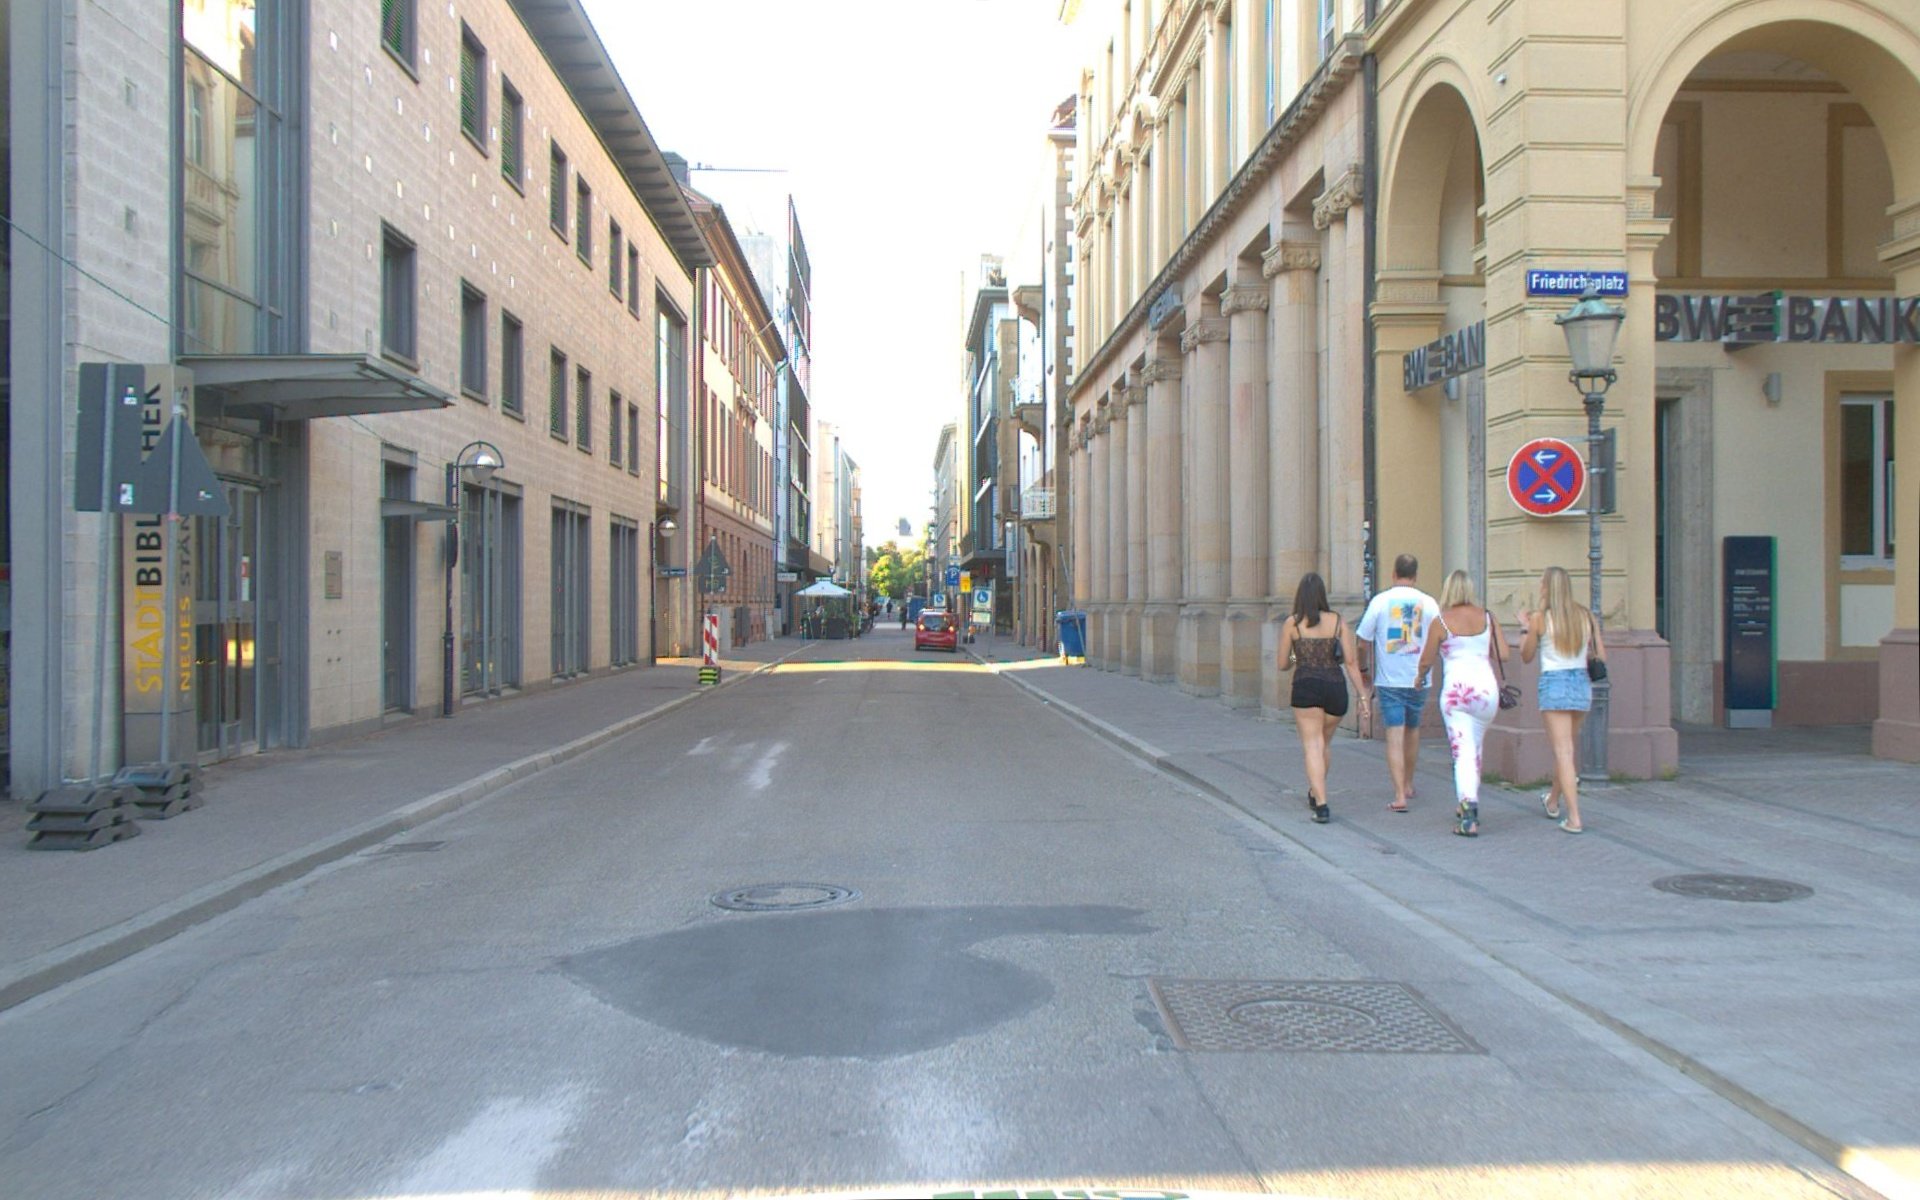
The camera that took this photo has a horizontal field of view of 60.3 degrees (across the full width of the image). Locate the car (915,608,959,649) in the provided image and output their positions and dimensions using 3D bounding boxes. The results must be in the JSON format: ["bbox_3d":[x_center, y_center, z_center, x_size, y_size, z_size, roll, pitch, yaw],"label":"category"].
[{"bbox_3d":[-0.914,1.088,63.965,1.616,1.452,3.534,2,0,-2],"label":"car"}]

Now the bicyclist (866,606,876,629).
[{"bbox_3d":[-6.499,1.303,121.034,0.625,1.669,0.770,-1,0,-11],"label":"bicyclist"}]

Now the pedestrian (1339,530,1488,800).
[{"bbox_3d":[3.328,0.461,12.211,0.795,1.908,0.874,-1,-1,-3],"label":"pedestrian"}]

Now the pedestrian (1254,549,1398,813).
[{"bbox_3d":[2.564,0.551,11.665,0.760,1.777,0.874,-1,0,-3],"label":"pedestrian"}]

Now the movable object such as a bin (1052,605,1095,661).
[{"bbox_3d":[2.959,0.852,43.233,0.970,1.416,1.240,-1,0,-3],"label":"movable object such as a bin"}]

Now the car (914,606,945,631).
[{"bbox_3d":[-2.078,1.244,113.345,1.954,1.639,3.997,0,0,-4],"label":"car"}]

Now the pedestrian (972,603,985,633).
[{"bbox_3d":[0.948,0.931,85.223,0.643,1.514,0.493,-1,-1,0],"label":"pedestrian"}]

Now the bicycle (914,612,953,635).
[{"bbox_3d":[-1.385,1.209,85.813,2.012,1.154,0.648,0,-1,-6],"label":"bicycle"}]

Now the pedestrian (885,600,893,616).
[{"bbox_3d":[-7.568,0.850,175.873,0.788,1.702,0.888,0,0,0],"label":"pedestrian"}]

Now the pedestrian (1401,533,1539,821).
[{"bbox_3d":[3.366,0.493,10.966,0.624,1.835,0.771,-1,-1,-3],"label":"pedestrian"}]

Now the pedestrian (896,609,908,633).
[{"bbox_3d":[-4.100,1.485,117.384,0.848,1.743,0.852,0,-1,-3],"label":"pedestrian"}]

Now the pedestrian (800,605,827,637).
[{"bbox_3d":[-7.035,0.997,79.570,1.265,1.514,0.661,0,-1,-4],"label":"pedestrian"}]

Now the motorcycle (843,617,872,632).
[{"bbox_3d":[-6.422,1.531,103.621,1.767,0.891,0.560,0,-1,-7],"label":"motorcycle"}]

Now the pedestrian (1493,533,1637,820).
[{"bbox_3d":[4.015,0.492,11.015,0.624,1.835,0.771,-1,-1,-3],"label":"pedestrian"}]

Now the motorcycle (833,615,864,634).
[{"bbox_3d":[-6.430,1.419,95.434,1.767,1.059,0.493,0,-1,-7],"label":"motorcycle"}]
